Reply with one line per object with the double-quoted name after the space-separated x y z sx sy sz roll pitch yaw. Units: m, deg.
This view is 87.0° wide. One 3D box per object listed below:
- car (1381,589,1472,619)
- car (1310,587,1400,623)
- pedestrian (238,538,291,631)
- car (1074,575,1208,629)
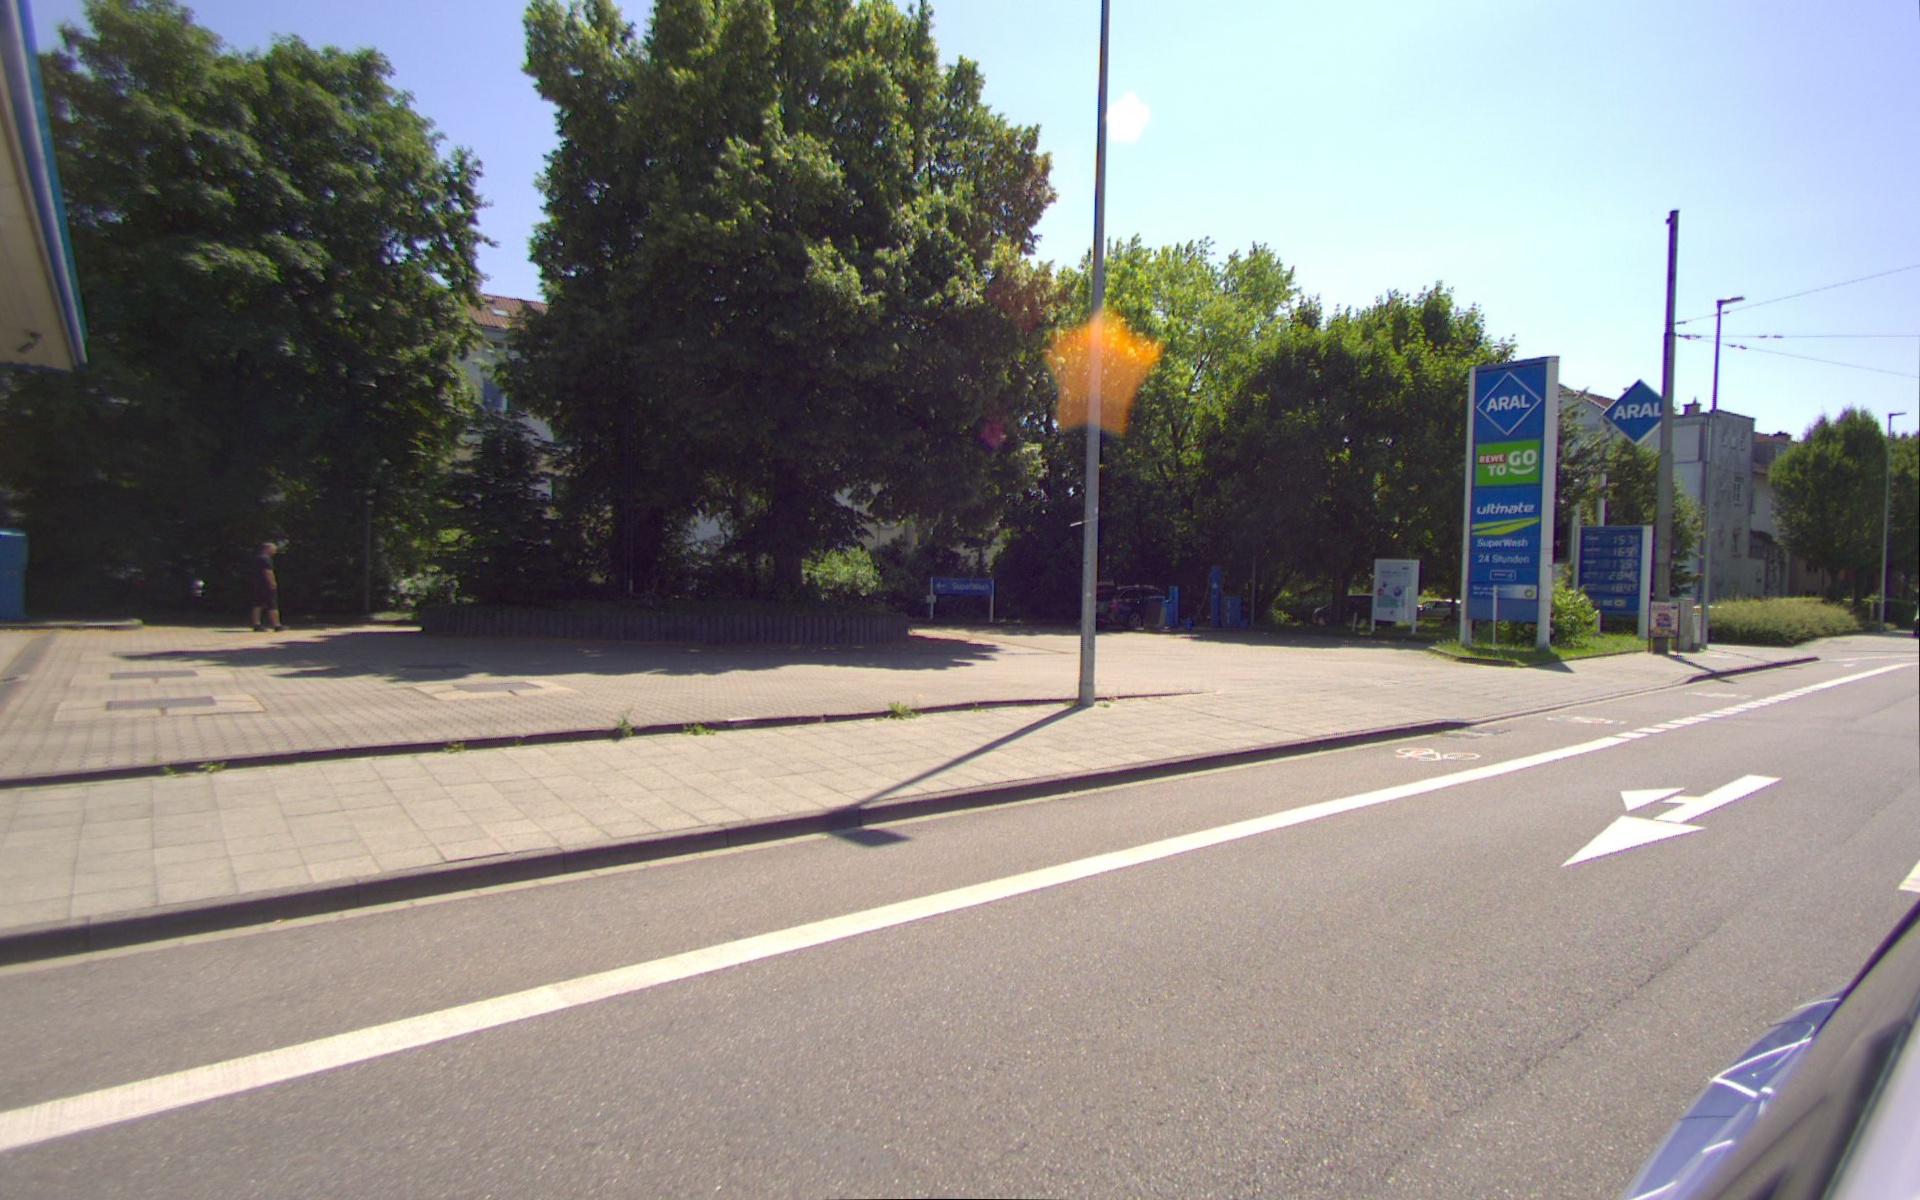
25.924 0.187 56.347 1.961 1.540 4.230 1 1 -32 "car"
20.094 0.220 51.610 1.959 1.708 4.007 1 1 -25 "car"
-14.707 -0.320 21.407 0.822 1.912 0.626 2 0 -41 "pedestrian"
6.099 0.004 33.941 4.328 1.683 2.000 -1 2 -36 "car"
